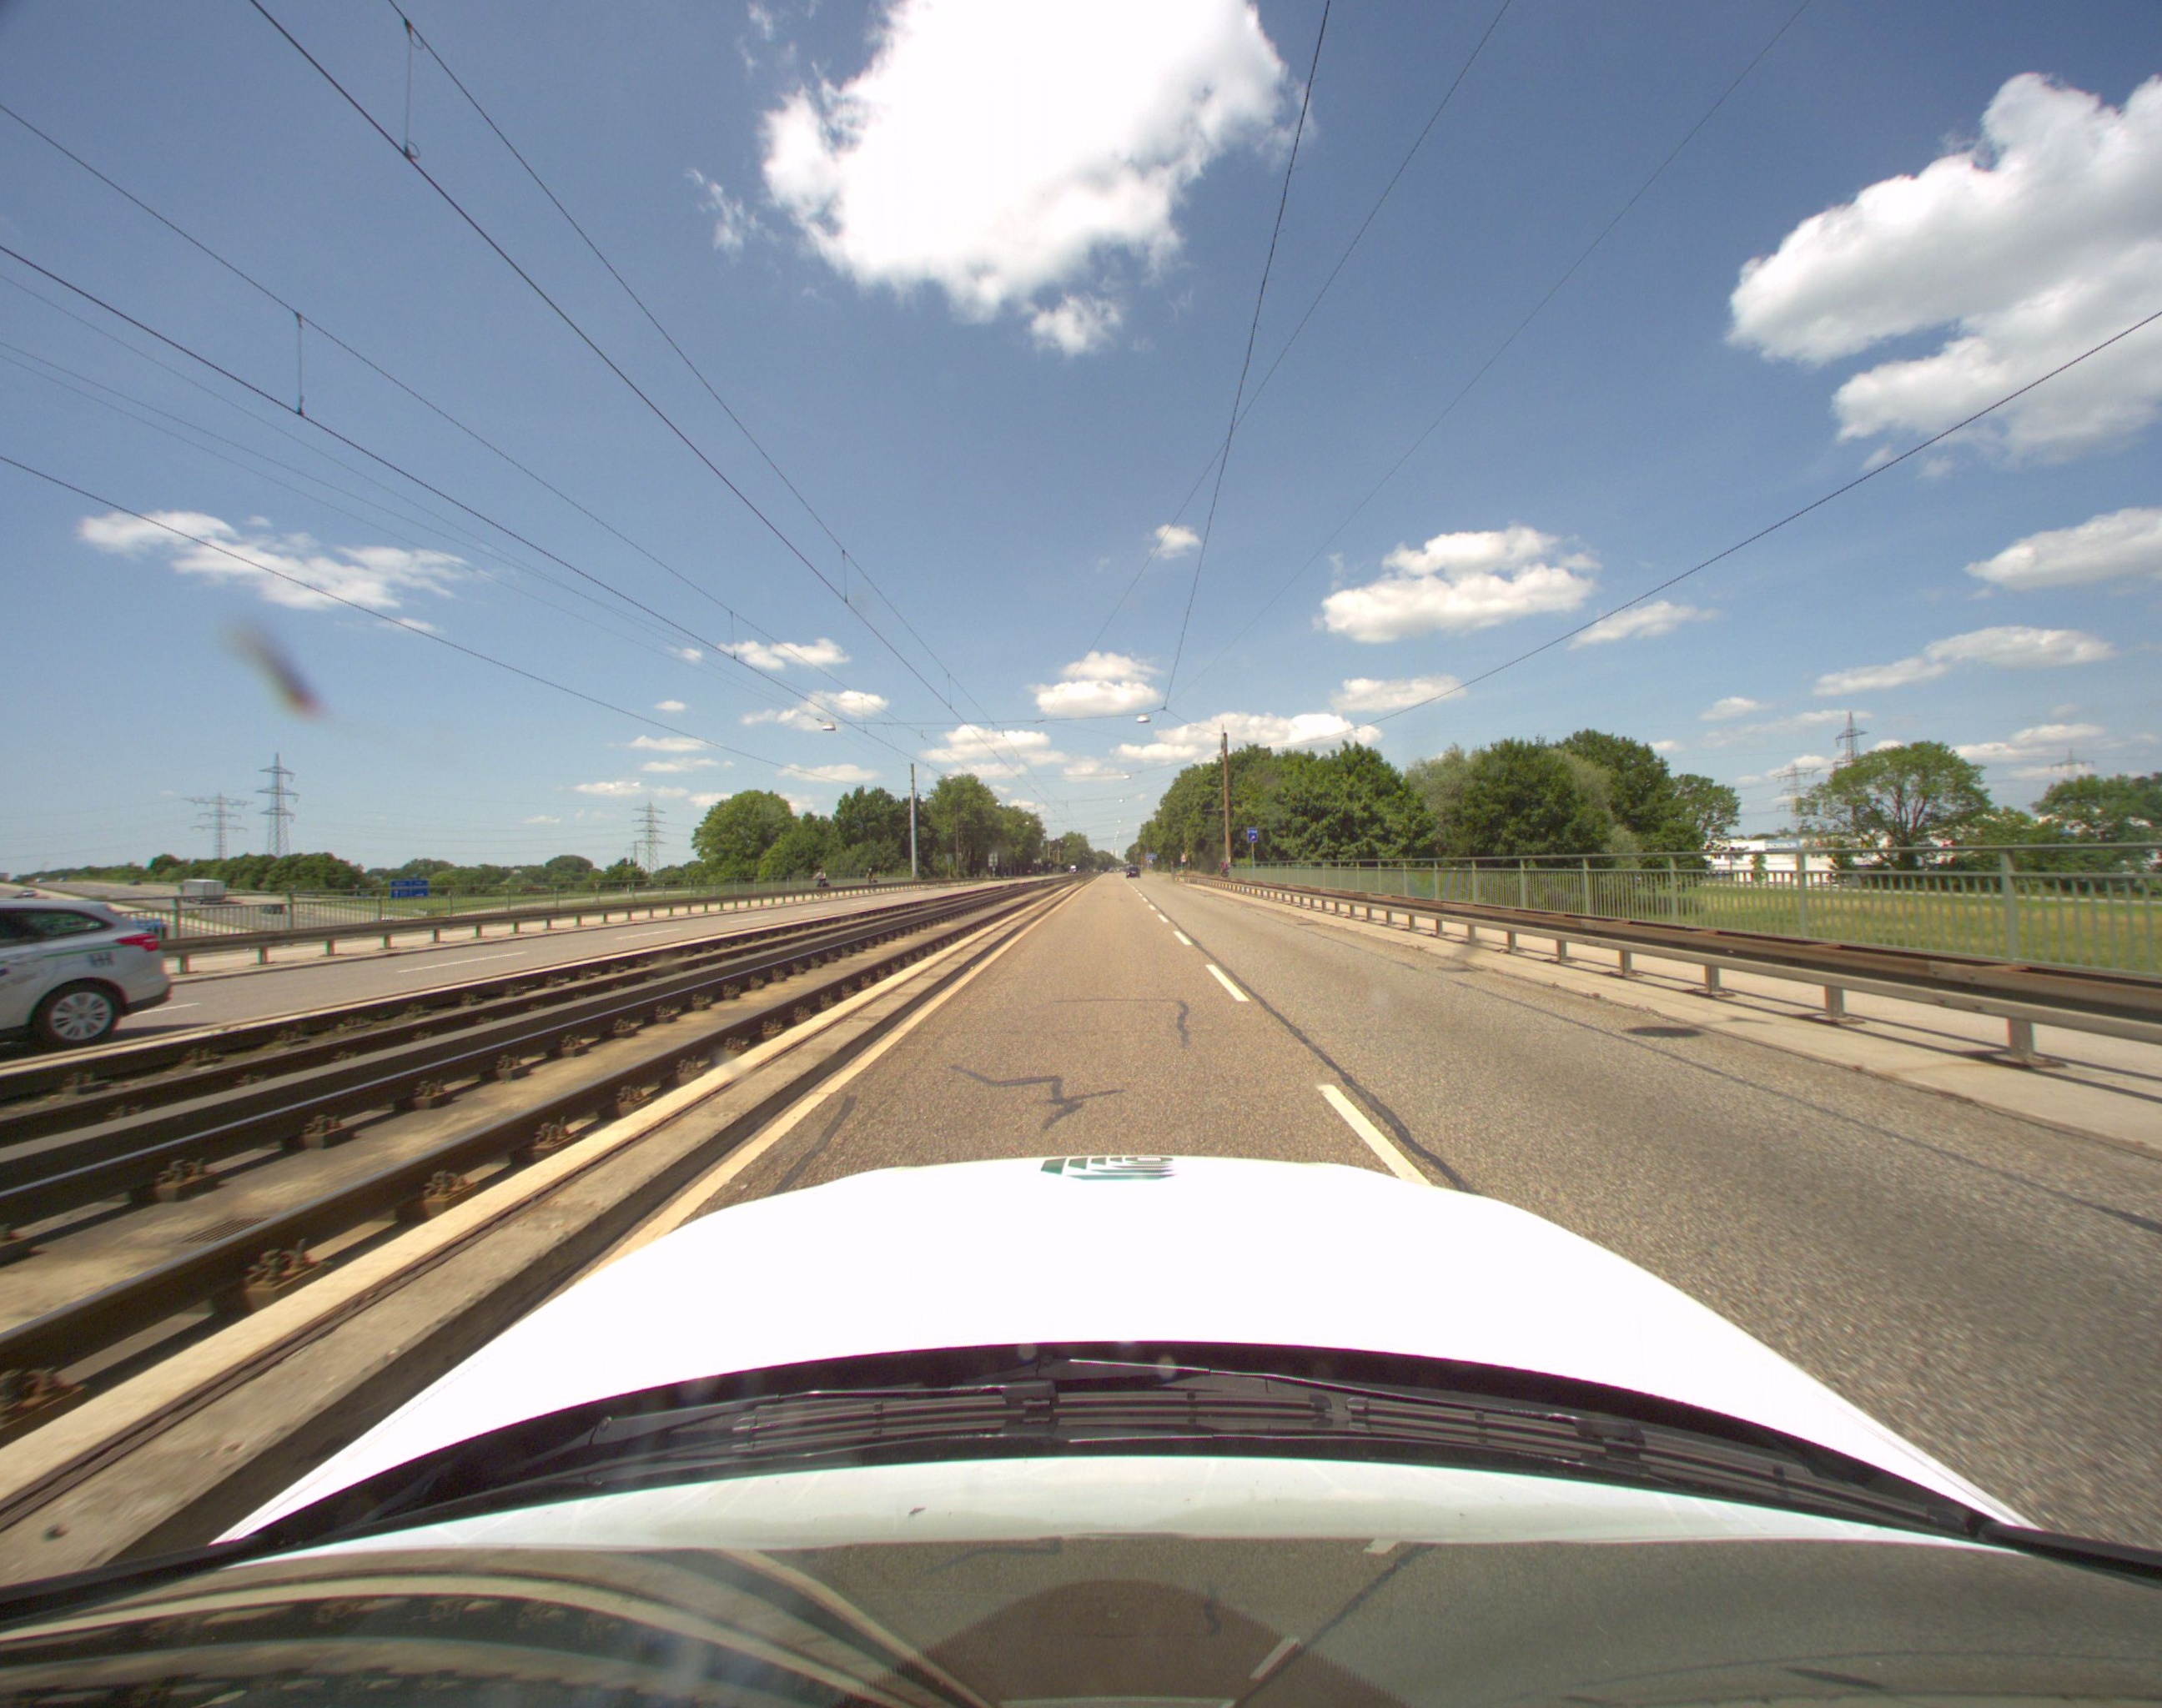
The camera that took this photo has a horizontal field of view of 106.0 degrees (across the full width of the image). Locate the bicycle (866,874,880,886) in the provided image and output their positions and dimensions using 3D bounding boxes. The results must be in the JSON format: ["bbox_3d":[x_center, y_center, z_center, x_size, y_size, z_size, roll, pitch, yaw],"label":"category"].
[{"bbox_3d":[-15.700,1.970,61.537,0.521,0.843,2.035,0,0,0],"label":"bicycle"}]

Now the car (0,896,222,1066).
[{"bbox_3d":[-10.375,1.182,6.630,1.704,1.420,4.627,-3,-1,2],"label":"car"}]

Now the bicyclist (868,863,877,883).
[{"bbox_3d":[-15.715,1.420,61.480,0.519,1.497,0.530,-1,0,0],"label":"bicyclist"}]

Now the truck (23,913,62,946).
[{"bbox_3d":[-126.190,9.077,98.905,13.550,3.225,2.766,-1,-1,37],"label":"truck"}]

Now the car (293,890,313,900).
[{"bbox_3d":[-144.051,7.555,150.840,3.949,1.642,1.751,3,0,32],"label":"car"}]

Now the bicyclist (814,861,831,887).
[{"bbox_3d":[-16.262,1.254,51.168,0.760,1.622,0.838,-1,-1,2],"label":"bicyclist"}]

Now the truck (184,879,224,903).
[{"bbox_3d":[-154.044,6.436,143.018,8.095,3.705,3.687,2,1,35],"label":"truck"}]

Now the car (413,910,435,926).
[{"bbox_3d":[-96.938,9.402,120.214,3.950,2.014,1.881,2,-1,43],"label":"car"}]

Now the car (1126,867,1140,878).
[{"bbox_3d":[6.771,2.370,106.240,1.580,1.343,3.272,-2,0,1],"label":"car"}]

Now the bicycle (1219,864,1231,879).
[{"bbox_3d":[10.169,1.208,57.605,0.557,1.024,1.849,-2,-1,2],"label":"bicycle"}]

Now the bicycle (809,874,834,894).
[{"bbox_3d":[-16.250,1.879,51.097,0.853,1.185,2.063,-1,-1,2],"label":"bicycle"}]

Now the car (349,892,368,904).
[{"bbox_3d":[-120.188,7.328,135.446,3.950,1.642,1.751,3,0,41],"label":"car"}]

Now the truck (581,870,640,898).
[{"bbox_3d":[-102.146,6.564,177.008,10.846,5.637,3.263,2,1,-31],"label":"truck"}]

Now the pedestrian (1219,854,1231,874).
[{"bbox_3d":[10.170,0.702,57.614,0.625,1.374,1.051,-2,-1,2],"label":"pedestrian"}]
